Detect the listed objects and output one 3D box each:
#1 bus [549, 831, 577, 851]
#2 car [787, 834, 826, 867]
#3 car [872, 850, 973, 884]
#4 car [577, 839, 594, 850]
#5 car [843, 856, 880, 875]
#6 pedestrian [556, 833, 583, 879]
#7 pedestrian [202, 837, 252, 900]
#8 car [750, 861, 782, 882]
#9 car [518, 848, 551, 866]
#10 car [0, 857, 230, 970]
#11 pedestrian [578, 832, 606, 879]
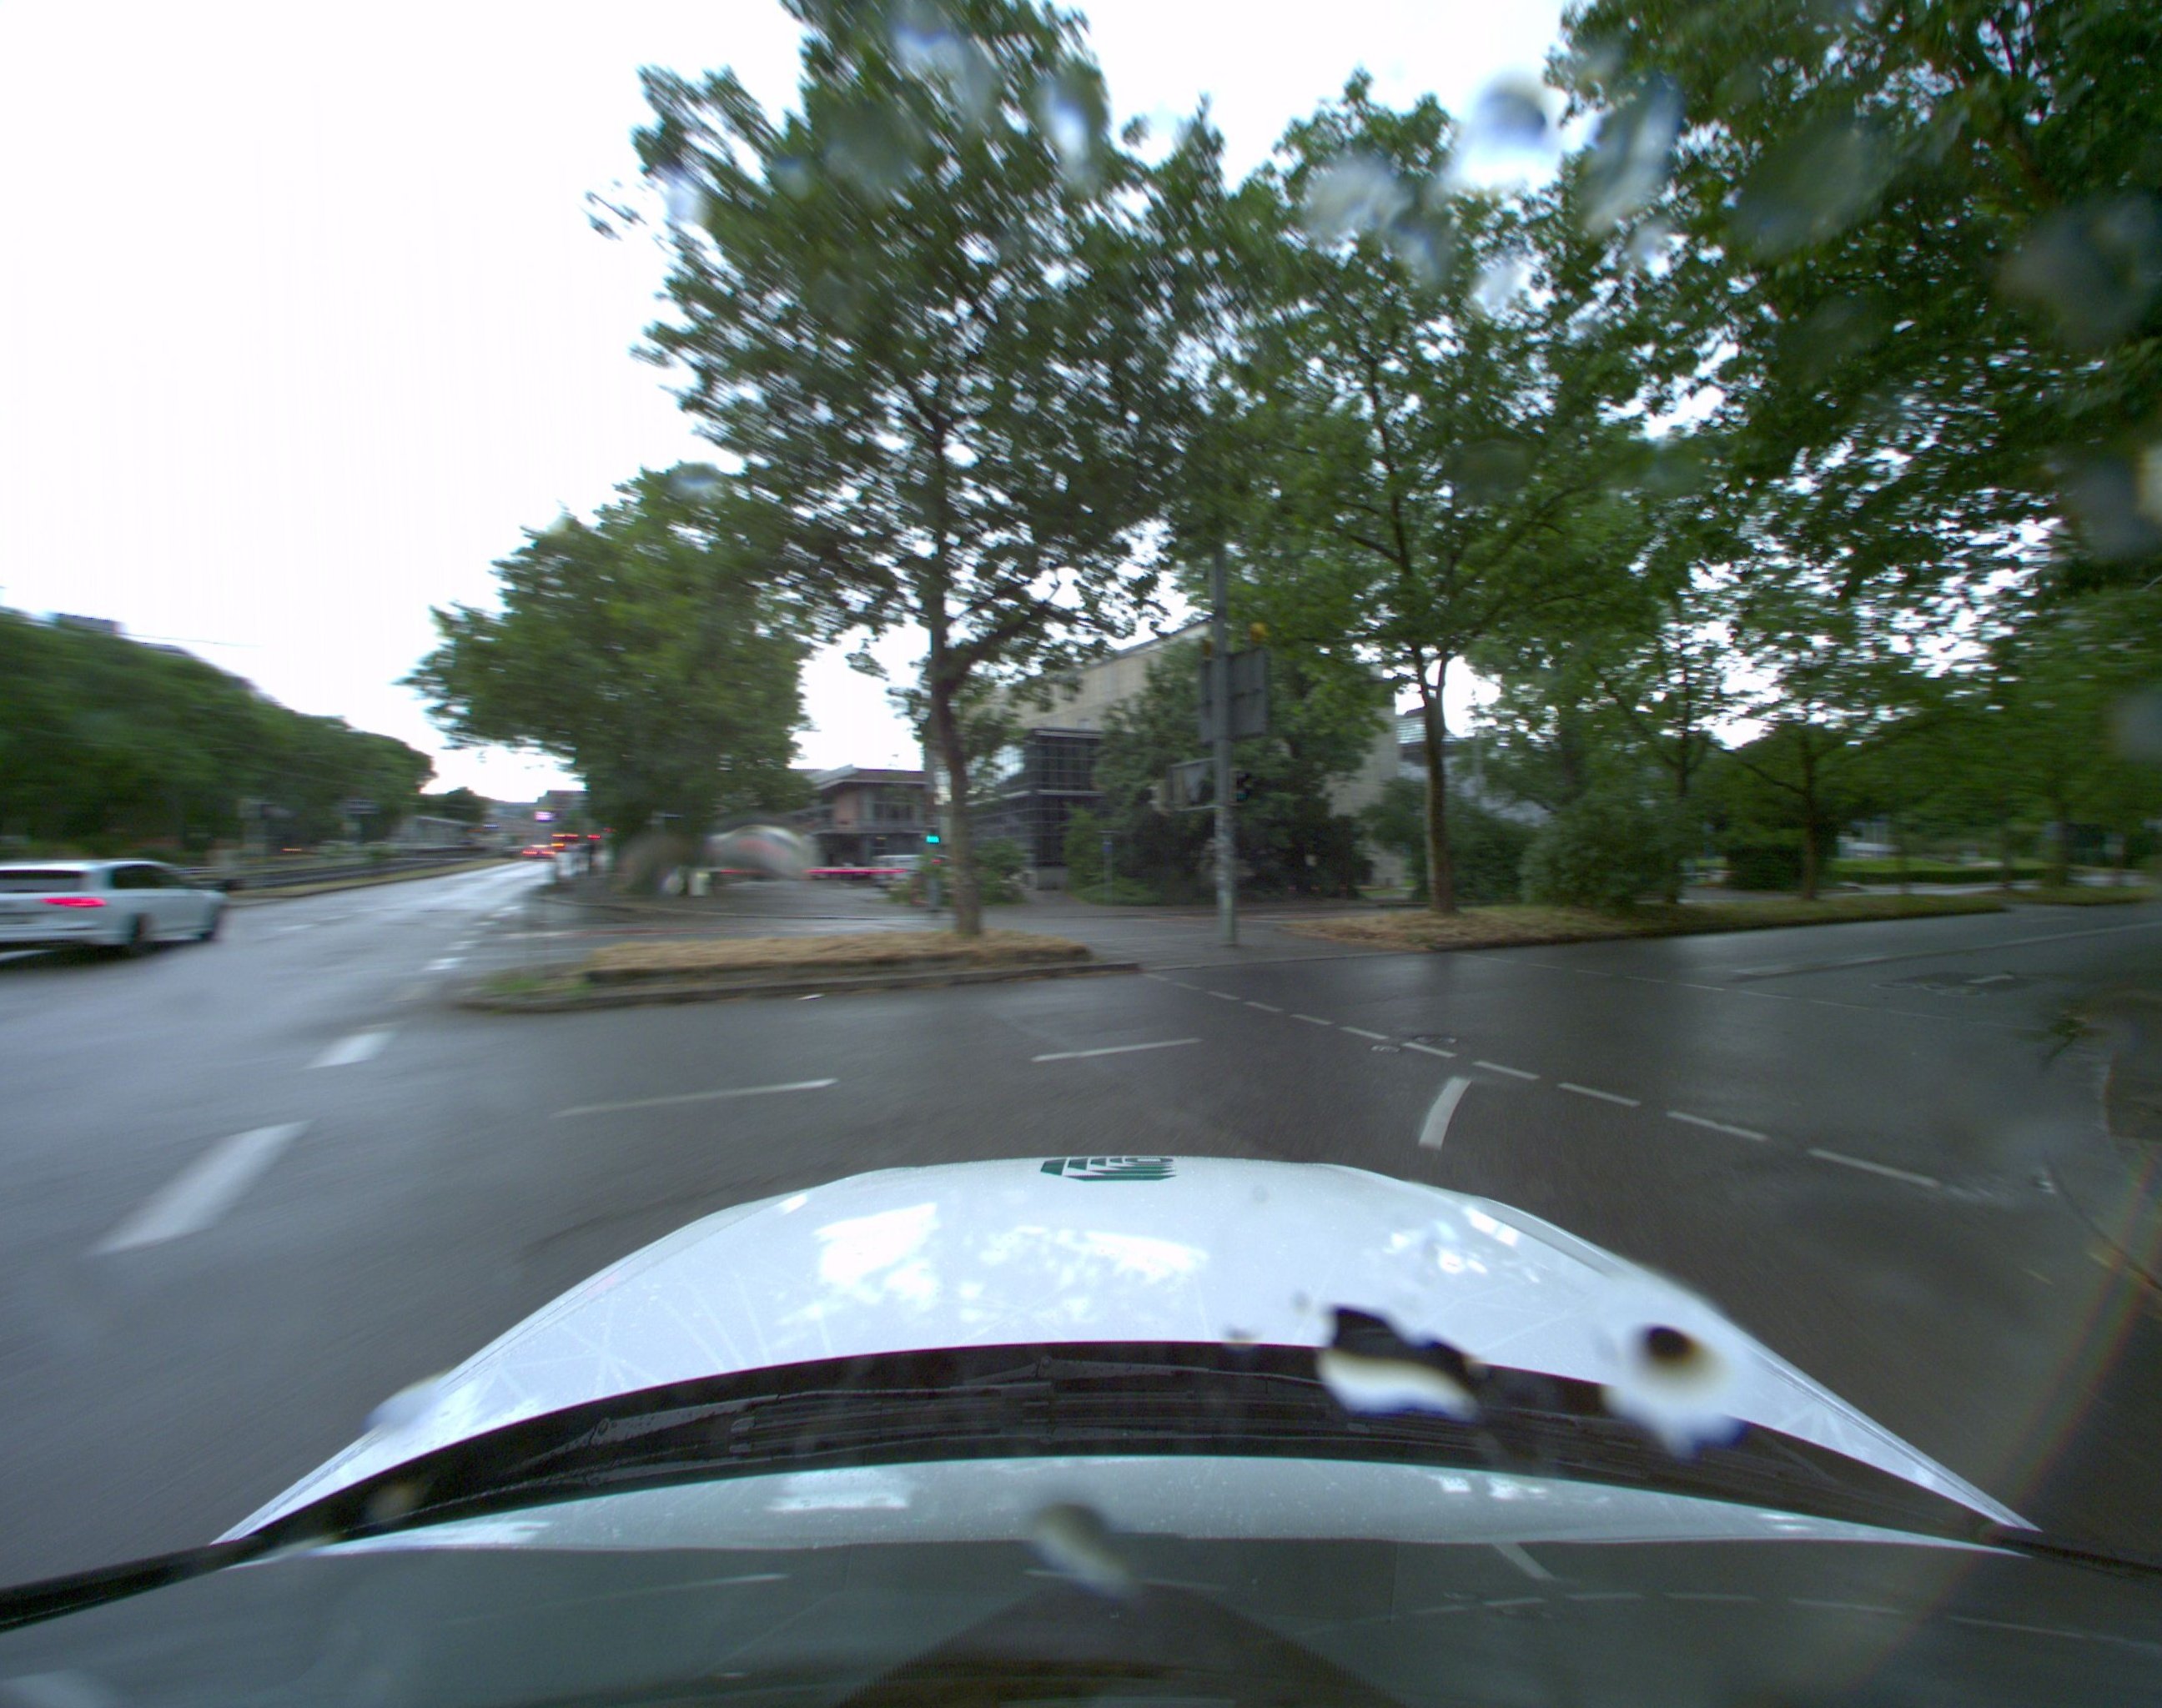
[{"bbox_3d":[-87.457,-2.109,137.592,3.614,3.171,10.318,-3,2,-31],"label":"bus"},{"bbox_3d":[-23.640,-0.373,70.025,2.743,2.695,6.871,0,1,-22],"label":"car"},{"bbox_3d":[-8.601,0.659,44.454,5.246,1.731,1.852,-1,1,-43],"label":"car"},{"bbox_3d":[-86.929,-1.592,142.998,2.379,1.816,5.132,-3,2,-31],"label":"car"},{"bbox_3d":[-18.720,0.947,69.311,2.032,1.551,4.308,0,1,-31],"label":"car"},{"bbox_3d":[-22.759,0.077,36.278,0.819,2.013,1.068,-3,1,-26],"label":"pedestrian"},{"bbox_3d":[-25.299,0.412,24.132,0.876,1.802,0.858,0,1,-37],"label":"pedestrian"},{"bbox_3d":[-25.392,1.396,65.782,2.024,1.551,4.327,0,1,-16],"label":"car"},{"bbox_3d":[-48.820,0.250,72.809,2.006,1.519,4.309,-3,2,-29],"label":"car"},{"bbox_3d":[-15.343,0.828,12.649,1.808,1.442,4.430,-3,1,-32],"label":"car"},{"bbox_3d":[-21.993,0.058,36.642,0.879,2.013,1.068,-3,1,-26],"label":"pedestrian"}]
